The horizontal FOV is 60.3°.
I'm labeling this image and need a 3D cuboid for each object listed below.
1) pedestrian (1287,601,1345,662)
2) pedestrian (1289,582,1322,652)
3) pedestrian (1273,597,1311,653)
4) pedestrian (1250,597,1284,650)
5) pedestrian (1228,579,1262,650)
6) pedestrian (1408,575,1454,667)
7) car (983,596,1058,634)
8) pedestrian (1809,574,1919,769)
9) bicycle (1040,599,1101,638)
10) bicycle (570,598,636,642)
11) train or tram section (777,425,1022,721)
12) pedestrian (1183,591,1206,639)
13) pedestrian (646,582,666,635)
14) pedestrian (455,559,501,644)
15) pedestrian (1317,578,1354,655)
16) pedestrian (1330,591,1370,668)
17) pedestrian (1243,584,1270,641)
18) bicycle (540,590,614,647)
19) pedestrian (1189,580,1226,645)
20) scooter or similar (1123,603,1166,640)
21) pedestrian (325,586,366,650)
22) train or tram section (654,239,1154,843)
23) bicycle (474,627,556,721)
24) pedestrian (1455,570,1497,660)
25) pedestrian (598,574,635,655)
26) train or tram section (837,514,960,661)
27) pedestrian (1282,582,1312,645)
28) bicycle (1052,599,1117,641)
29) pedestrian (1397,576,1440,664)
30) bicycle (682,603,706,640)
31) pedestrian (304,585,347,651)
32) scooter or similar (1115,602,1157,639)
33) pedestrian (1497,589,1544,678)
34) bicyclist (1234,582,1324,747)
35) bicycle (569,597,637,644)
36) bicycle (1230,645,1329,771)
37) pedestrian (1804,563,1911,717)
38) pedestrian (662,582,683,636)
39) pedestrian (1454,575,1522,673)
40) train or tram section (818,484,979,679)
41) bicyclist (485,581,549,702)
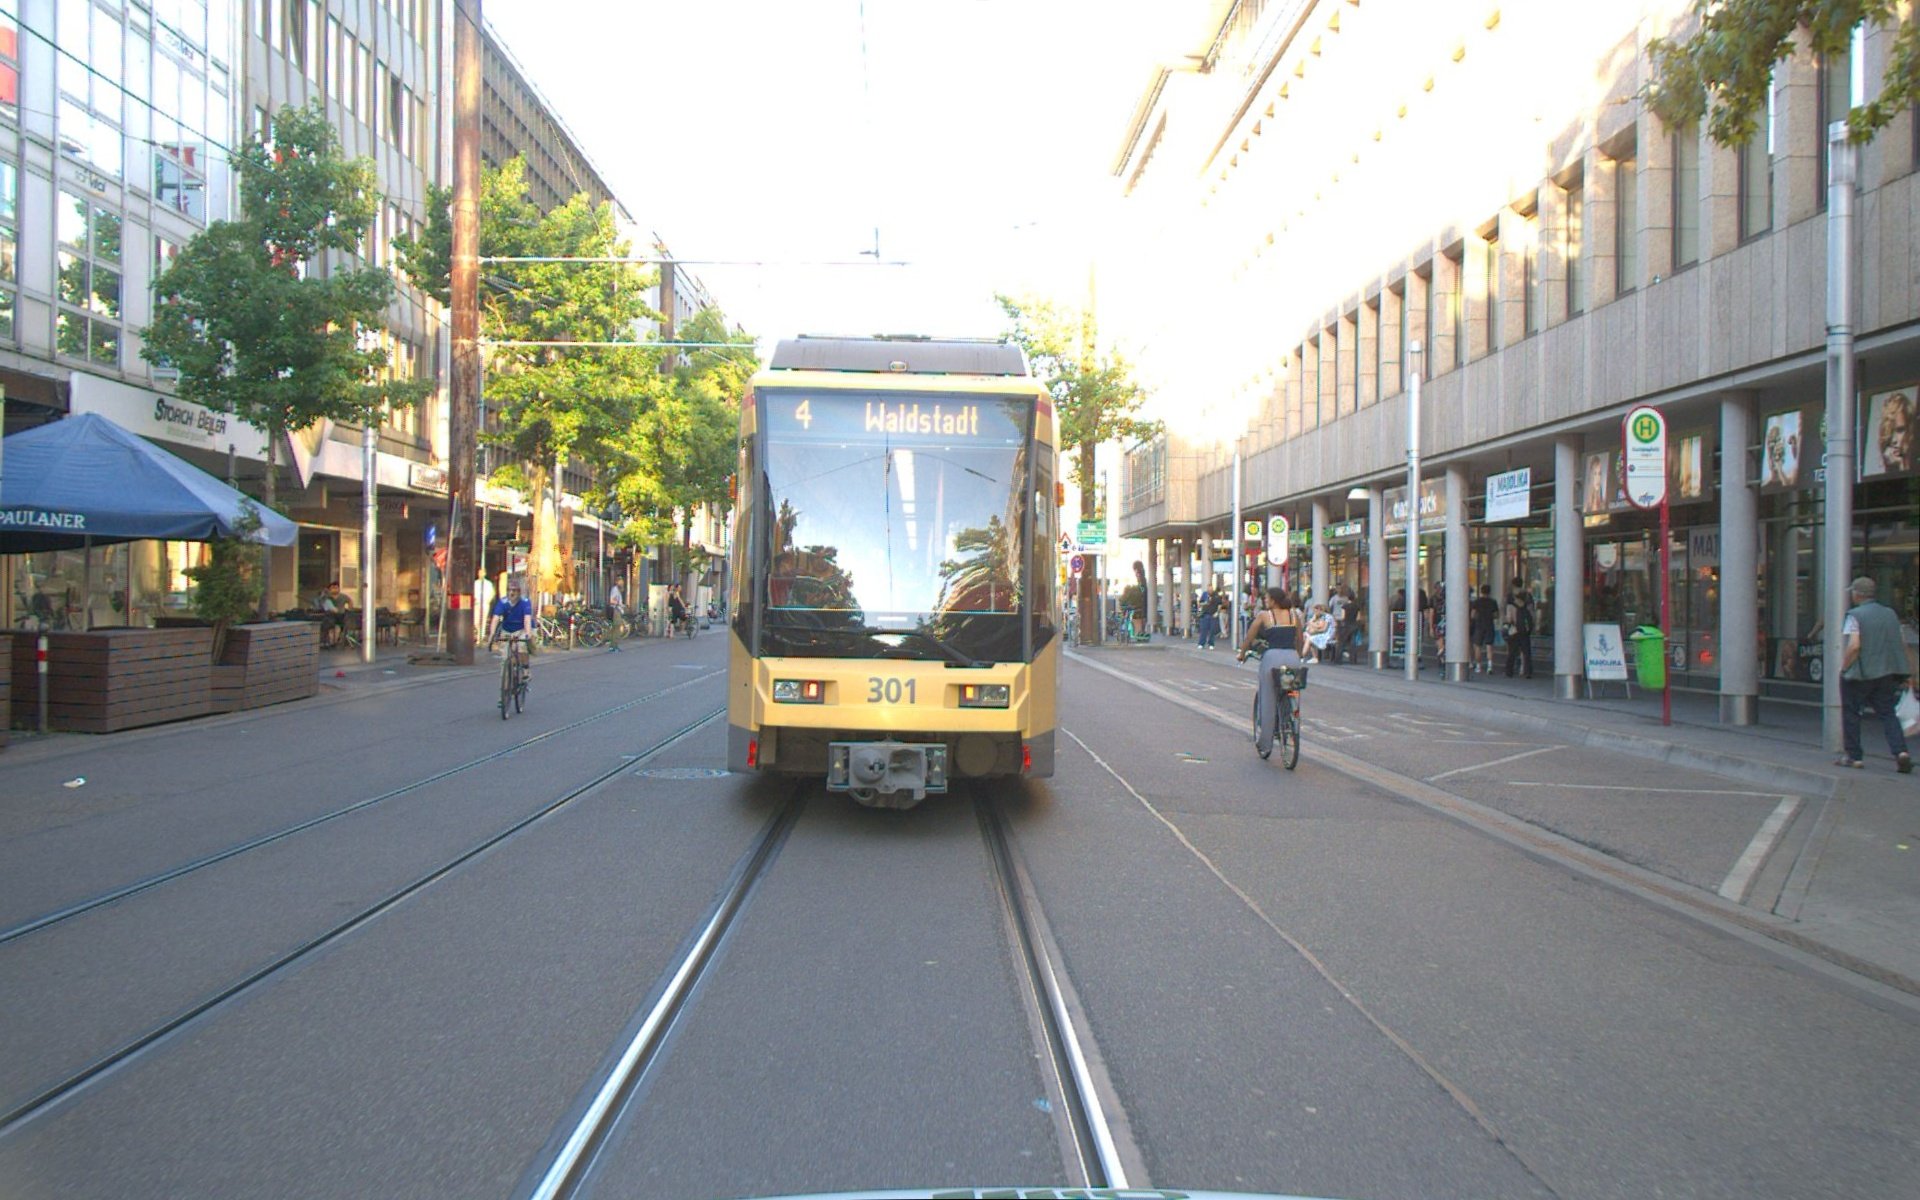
[{"bbox_3d":[8.144,0.721,37.889,1.089,1.351,0.926,-1,0,-1],"label":"pedestrian"},{"bbox_3d":[9.450,0.446,45.219,0.687,1.871,0.829,-1,1,-1],"label":"pedestrian"},{"bbox_3d":[8.355,0.627,41.665,0.789,1.351,0.626,-1,1,-1],"label":"pedestrian"},{"bbox_3d":[8.062,0.610,43.465,0.724,1.351,0.720,-1,1,-1],"label":"pedestrian"},{"bbox_3d":[7.430,0.375,43.200,0.733,1.813,0.891,1,-1,1],"label":"pedestrian"},{"bbox_3d":[9.827,0.431,34.530,0.687,1.871,0.829,-1,1,-1],"label":"pedestrian"},{"bbox_3d":[2.748,0.684,74.590,1.613,1.622,3.909,1,-1,32],"label":"car"},{"bbox_3d":[7.933,0.598,14.171,0.860,1.609,0.755,2,1,-2],"label":"pedestrian"},{"bbox_3d":[4.355,0.724,65.203,2.283,1.497,0.790,1,-1,-5],"label":"bicycle"},{"bbox_3d":[-10.145,0.569,47.058,1.700,1.146,0.563,3,-1,-6],"label":"bicycle"},{"bbox_3d":[-0.940,-0.329,25.506,2.947,3.585,10.397,1,0,-2],"label":"train or tram section"},{"bbox_3d":[8.433,0.533,59.607,0.687,1.714,0.680,-1,1,-1],"label":"pedestrian"},{"bbox_3d":[-9.966,0.286,54.184,0.564,1.716,0.551,3,-1,-12],"label":"pedestrian"},{"bbox_3d":[-11.766,0.037,40.392,0.832,2.049,0.921,1,-1,-2],"label":"pedestrian"},{"bbox_3d":[9.382,0.408,41.314,0.687,1.871,0.829,-1,1,-1],"label":"pedestrian"},{"bbox_3d":[8.609,0.638,36.554,0.687,1.666,0.645,-1,1,-2],"label":"pedestrian"},{"bbox_3d":[9.218,0.387,51.391,0.687,1.714,0.680,-1,1,-1],"label":"pedestrian"},{"bbox_3d":[-9.928,0.480,42.878,1.767,1.384,0.658,3,-1,-14],"label":"bicycle"},{"bbox_3d":[6.944,0.350,46.390,0.870,1.813,0.751,1,-1,-3],"label":"pedestrian"},{"bbox_3d":[6.205,0.721,55.736,1.357,1.232,0.513,0,-1,-16],"label":"scooter or similar"},{"bbox_3d":[-13.211,0.384,35.567,0.562,1.342,0.725,3,-1,-1],"label":"pedestrian"},{"bbox_3d":[-0.526,-0.334,15.137,2.956,3.585,10.365,1,0,-2],"label":"train or tram section"},{"bbox_3d":[-5.417,0.883,20.214,0.628,1.040,1.587,2,0,-4],"label":"bicycle"},{"bbox_3d":[10.980,0.317,35.197,0.584,1.871,0.829,-1,1,-1],"label":"pedestrian"},{"bbox_3d":[-8.319,0.342,40.069,0.736,1.912,0.575,3,-1,-6],"label":"pedestrian"},{"bbox_3d":[-1.745,-0.315,46.762,2.983,3.585,10.526,2,0,-2],"label":"train or tram section"},{"bbox_3d":[10.259,0.397,50.316,0.687,1.871,0.829,-1,1,-1],"label":"pedestrian"},{"bbox_3d":[4.596,0.751,61.118,2.283,1.497,0.790,1,-1,-5],"label":"bicycle"},{"bbox_3d":[9.937,0.420,35.836,0.687,1.871,0.705,-1,1,-1],"label":"pedestrian"},{"bbox_3d":[-8.537,0.695,53.148,0.600,1.146,2.248,3,-1,-7],"label":"bicycle"},{"bbox_3d":[-13.206,0.379,34.435,0.562,1.342,0.725,3,-1,-1],"label":"pedestrian"},{"bbox_3d":[6.019,0.699,56.622,1.354,1.272,0.555,0,-1,-9],"label":"scooter or similar"},{"bbox_3d":[10.645,0.623,31.438,0.584,1.644,0.829,-1,1,-1],"label":"pedestrian"},{"bbox_3d":[3.122,0.621,16.228,0.711,1.553,0.733,2,-1,2],"label":"bicyclist"},{"bbox_3d":[-9.623,0.555,44.634,1.701,1.146,0.612,3,-1,-8],"label":"bicycle"},{"bbox_3d":[3.124,1.029,16.318,0.642,1.079,2.058,2,0,3],"label":"bicycle"},{"bbox_3d":[11.221,0.477,20.701,0.816,1.868,0.943,-1,1,-1],"label":"pedestrian"},{"bbox_3d":[-9.316,0.284,53.623,0.540,1.716,0.575,3,-1,-6],"label":"pedestrian"},{"bbox_3d":[10.580,0.459,33.170,1.032,1.909,0.929,-1,1,-2],"label":"pedestrian"},{"bbox_3d":[-1.349,-0.350,36.106,2.943,3.585,10.840,1,0,-2],"label":"train or tram section"},{"bbox_3d":[-5.402,0.501,20.202,0.608,1.441,0.699,1,-1,-4],"label":"bicyclist"}]
